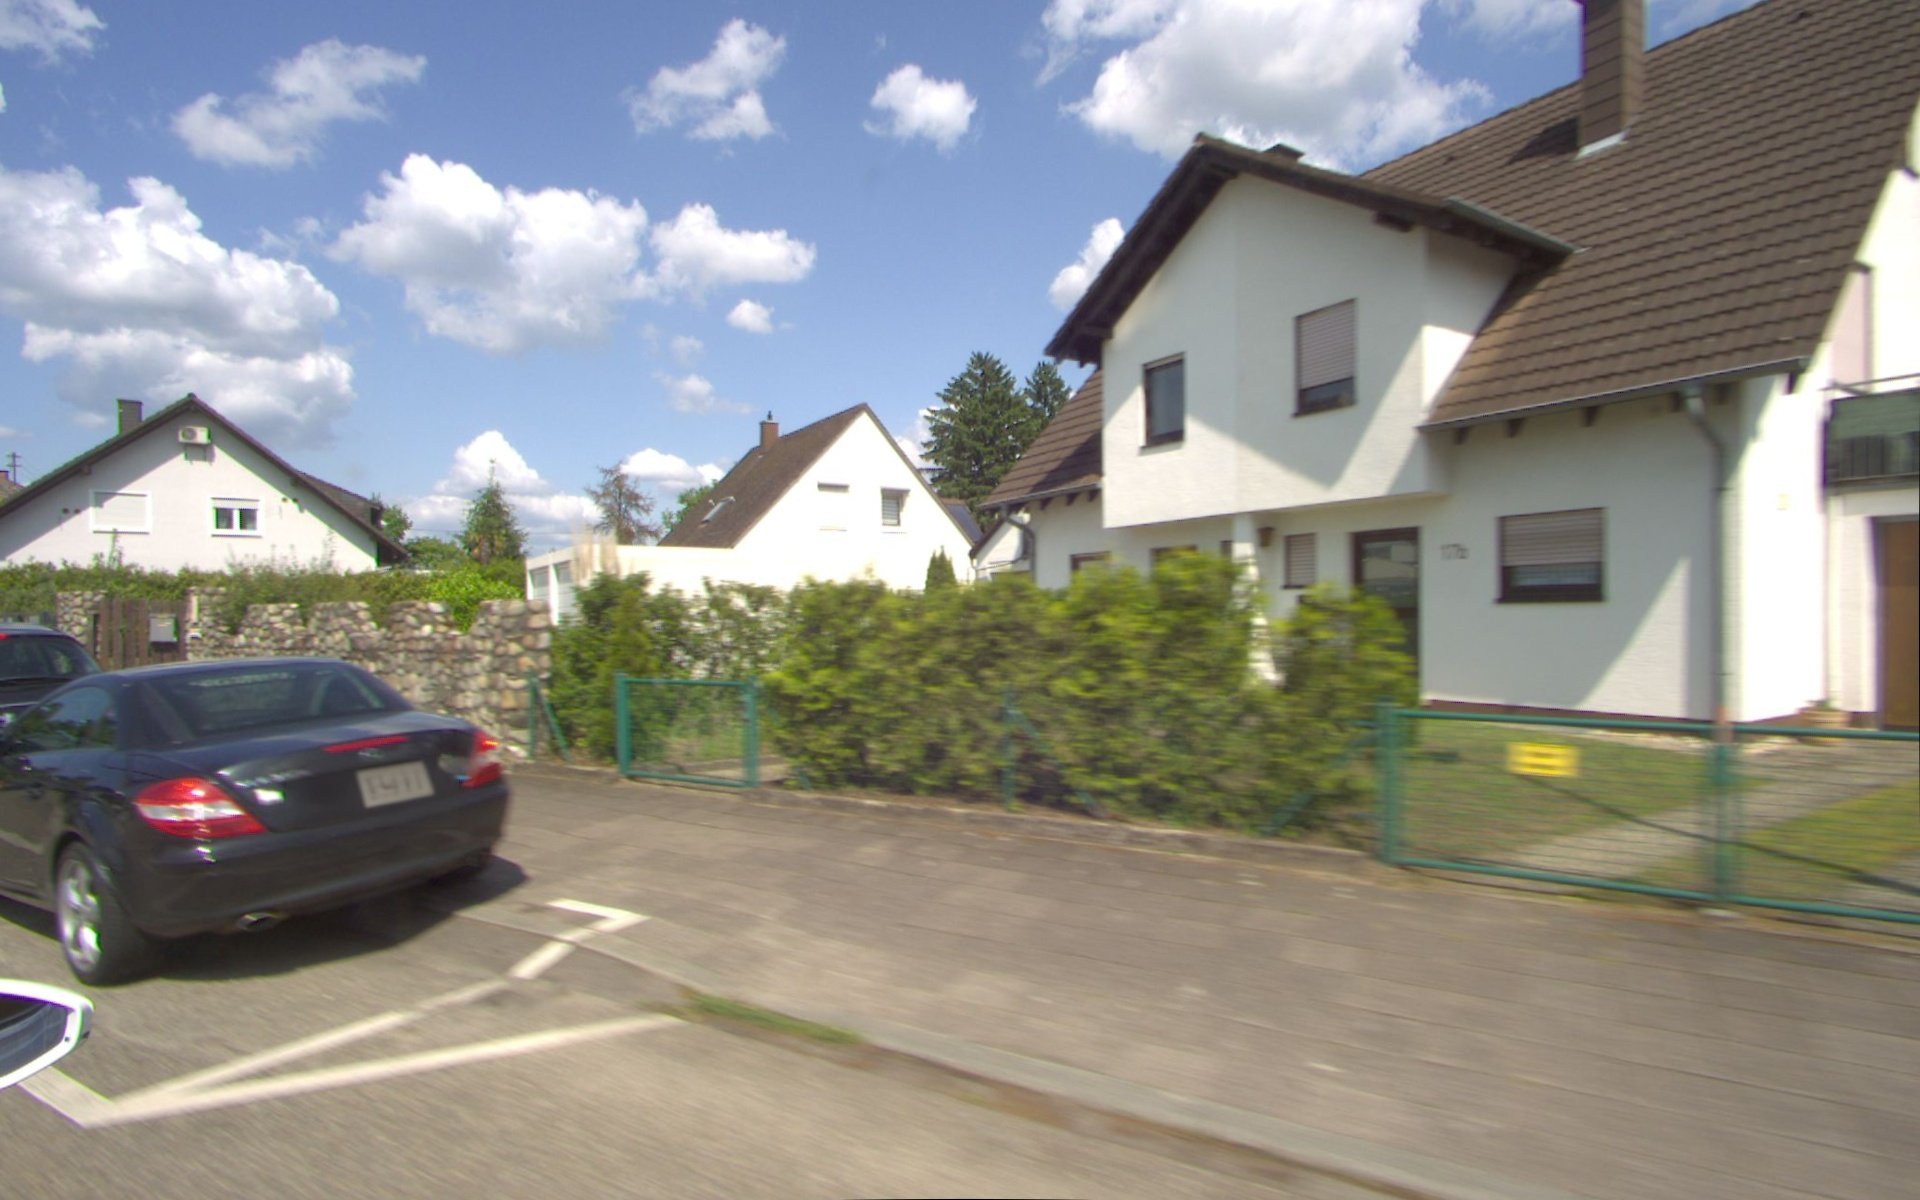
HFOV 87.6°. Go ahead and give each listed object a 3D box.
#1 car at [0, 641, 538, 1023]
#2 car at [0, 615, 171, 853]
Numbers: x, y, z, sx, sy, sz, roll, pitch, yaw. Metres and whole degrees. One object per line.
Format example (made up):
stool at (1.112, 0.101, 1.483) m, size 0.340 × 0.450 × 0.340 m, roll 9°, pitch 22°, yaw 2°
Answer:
car at (-4.287, 0.947, 5.555) m, size 3.907 × 1.335 × 1.706 m, roll 0°, pitch -1°, yaw 33°
car at (-8.057, 0.908, 7.701) m, size 4.060 × 1.570 × 1.742 m, roll -1°, pitch -2°, yaw 30°
